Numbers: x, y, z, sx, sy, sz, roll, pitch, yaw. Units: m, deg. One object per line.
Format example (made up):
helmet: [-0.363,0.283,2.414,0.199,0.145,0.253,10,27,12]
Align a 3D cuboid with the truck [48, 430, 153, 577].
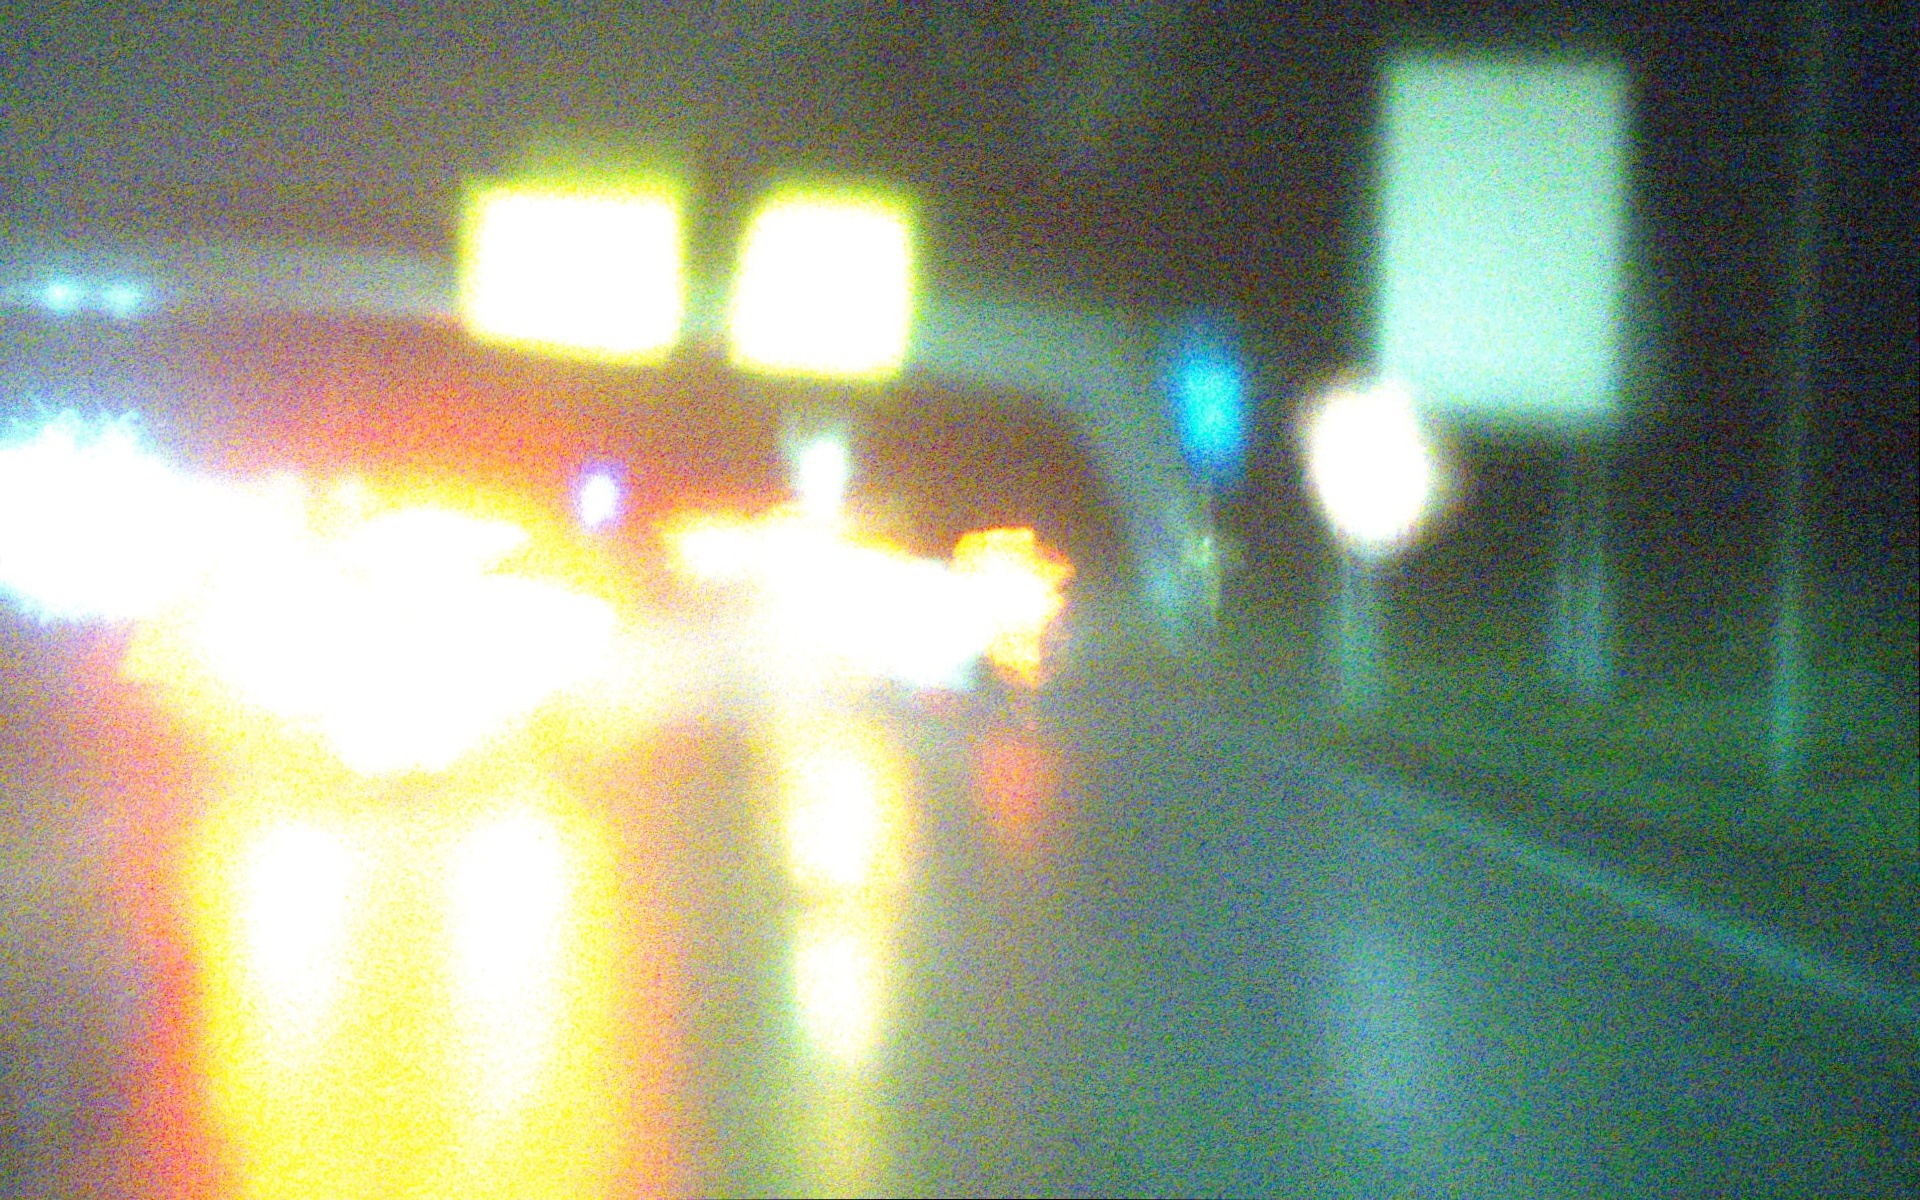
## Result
truck: [-26.789,-2.965,107.390,2.564,4.389,5.852,1,0,-9]

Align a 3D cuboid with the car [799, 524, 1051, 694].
car: [-0.382,0.059,30.651,1.962,1.376,4.050,1,0,-4]

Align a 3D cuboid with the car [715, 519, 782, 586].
car: [-6.553,-1.461,106.283,1.993,2.007,4.001,1,1,-4]

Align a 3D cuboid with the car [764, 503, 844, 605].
car: [-3.184,-0.959,69.734,1.553,2.007,4.001,1,1,-3]

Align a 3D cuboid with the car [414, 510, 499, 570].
car: [-13.475,-1.602,92.152,1.895,1.539,4.001,1,1,-3]

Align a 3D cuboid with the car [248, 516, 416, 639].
car: [-8.298,-0.303,45.686,1.892,1.545,4.001,1,1,-6]
